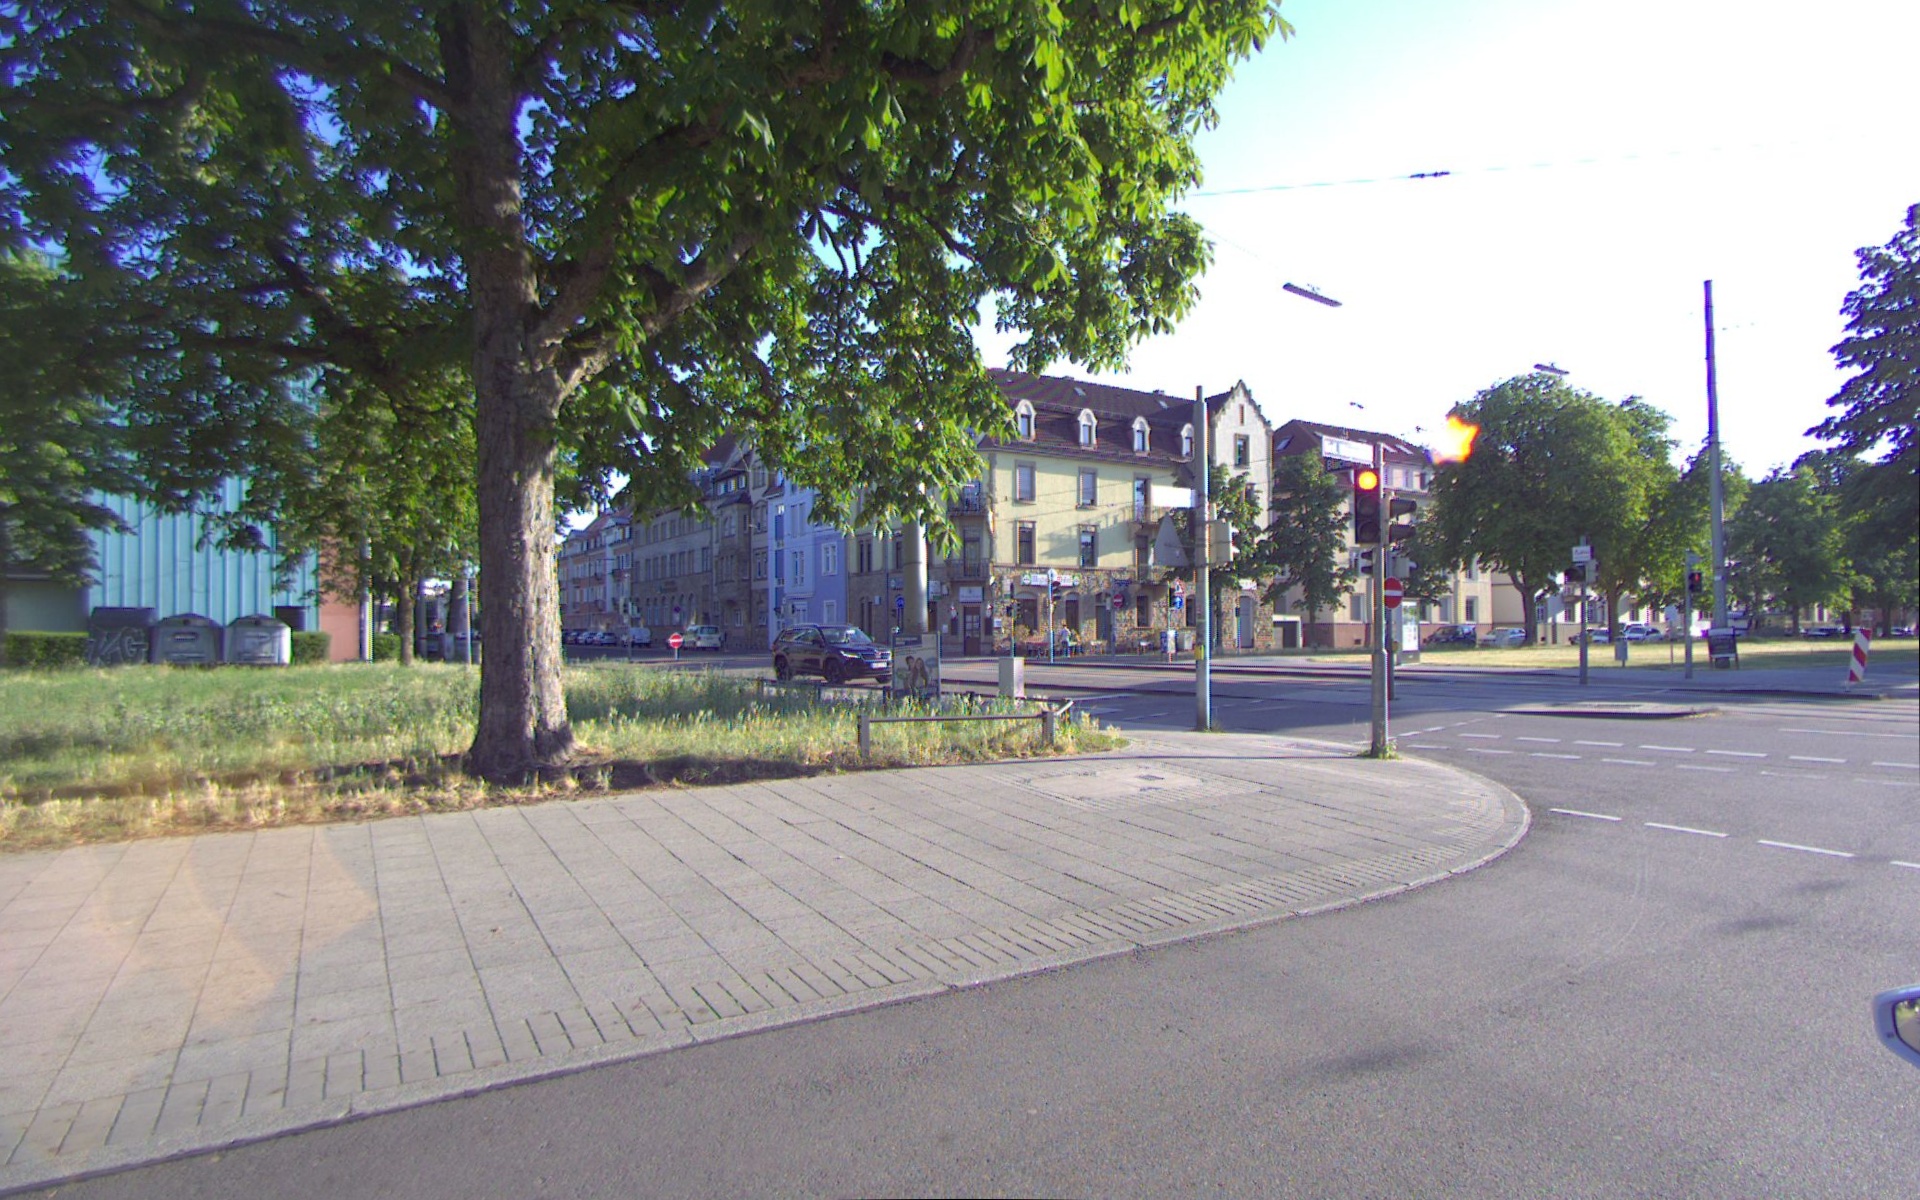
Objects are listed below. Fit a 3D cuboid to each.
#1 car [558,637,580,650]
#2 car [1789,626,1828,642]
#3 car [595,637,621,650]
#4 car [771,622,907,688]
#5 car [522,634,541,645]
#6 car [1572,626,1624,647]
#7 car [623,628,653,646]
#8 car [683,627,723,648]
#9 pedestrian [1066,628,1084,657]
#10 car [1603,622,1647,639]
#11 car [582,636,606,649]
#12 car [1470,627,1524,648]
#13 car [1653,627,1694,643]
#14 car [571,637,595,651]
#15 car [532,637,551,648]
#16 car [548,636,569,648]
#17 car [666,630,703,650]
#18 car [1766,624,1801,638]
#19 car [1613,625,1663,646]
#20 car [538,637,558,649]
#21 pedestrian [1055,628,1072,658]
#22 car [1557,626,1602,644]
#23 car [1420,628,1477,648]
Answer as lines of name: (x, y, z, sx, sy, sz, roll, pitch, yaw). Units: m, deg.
car: (-45.899, 5.096, 117.872, 1.867, 1.433, 4.013, 1, -2, -29)
car: (80.227, 3.203, 94.963, 3.749, 1.446, 1.729, 1, -1, -31)
car: (-36.428, 4.460, 103.878, 1.867, 1.299, 4.013, 1, -2, -29)
car: (-3.469, 1.466, 28.108, 1.861, 1.685, 4.518, 1, -2, -35)
car: (-57.566, 5.284, 134.912, 1.867, 1.433, 4.013, 1, -2, -29)
car: (46.277, 2.621, 72.842, 3.749, 1.446, 1.729, 0, -1, -31)
car: (-30.140, 3.477, 94.082, 1.888, 1.610, 4.013, 2, -2, -29)
car: (-20.110, 2.912, 78.397, 2.074, 1.612, 4.014, 2, -2, -29)
pedestrian: (6.539, 2.409, 57.123, 0.715, 1.664, 0.811, 0, -1, -23)
car: (57.498, 2.617, 86.884, 3.749, 1.446, 1.729, 1, -2, -31)
car: (-39.594, 4.581, 108.595, 1.867, 1.433, 4.013, 1, -2, -29)
car: (40.782, 2.796, 76.222, 3.741, 1.446, 1.733, -1, 0, -26)
car: (65.862, 3.259, 92.718, 3.749, 1.446, 1.729, 1, -2, -31)
car: (-42.622, 4.948, 113.521, 1.867, 1.433, 4.013, 1, -2, -29)
car: (-54.636, 5.542, 131.104, 1.867, 1.433, 4.013, 1, -2, -29)
car: (-48.932, 5.101, 122.385, 1.867, 1.433, 4.013, 1, -2, -29)
car: (-22.792, 3.307, 83.115, 2.074, 1.612, 4.014, 2, -2, -29)
car: (86.189, 3.228, 105.117, 3.749, 1.446, 1.729, 1, -1, -31)
car: (51.370, 2.702, 76.142, 3.748, 1.446, 1.729, -1, -1, -31)
car: (-52.091, 5.463, 127.055, 1.867, 1.433, 4.013, 1, -2, -29)
pedestrian: (5.804, 2.384, 56.195, 0.712, 1.664, 0.815, -1, -1, 26)
car: (52.013, 2.905, 84.363, 3.749, 1.446, 1.729, 1, -2, -31)
car: (35.449, 2.743, 72.877, 3.741, 1.416, 1.733, 1, -2, -26)
